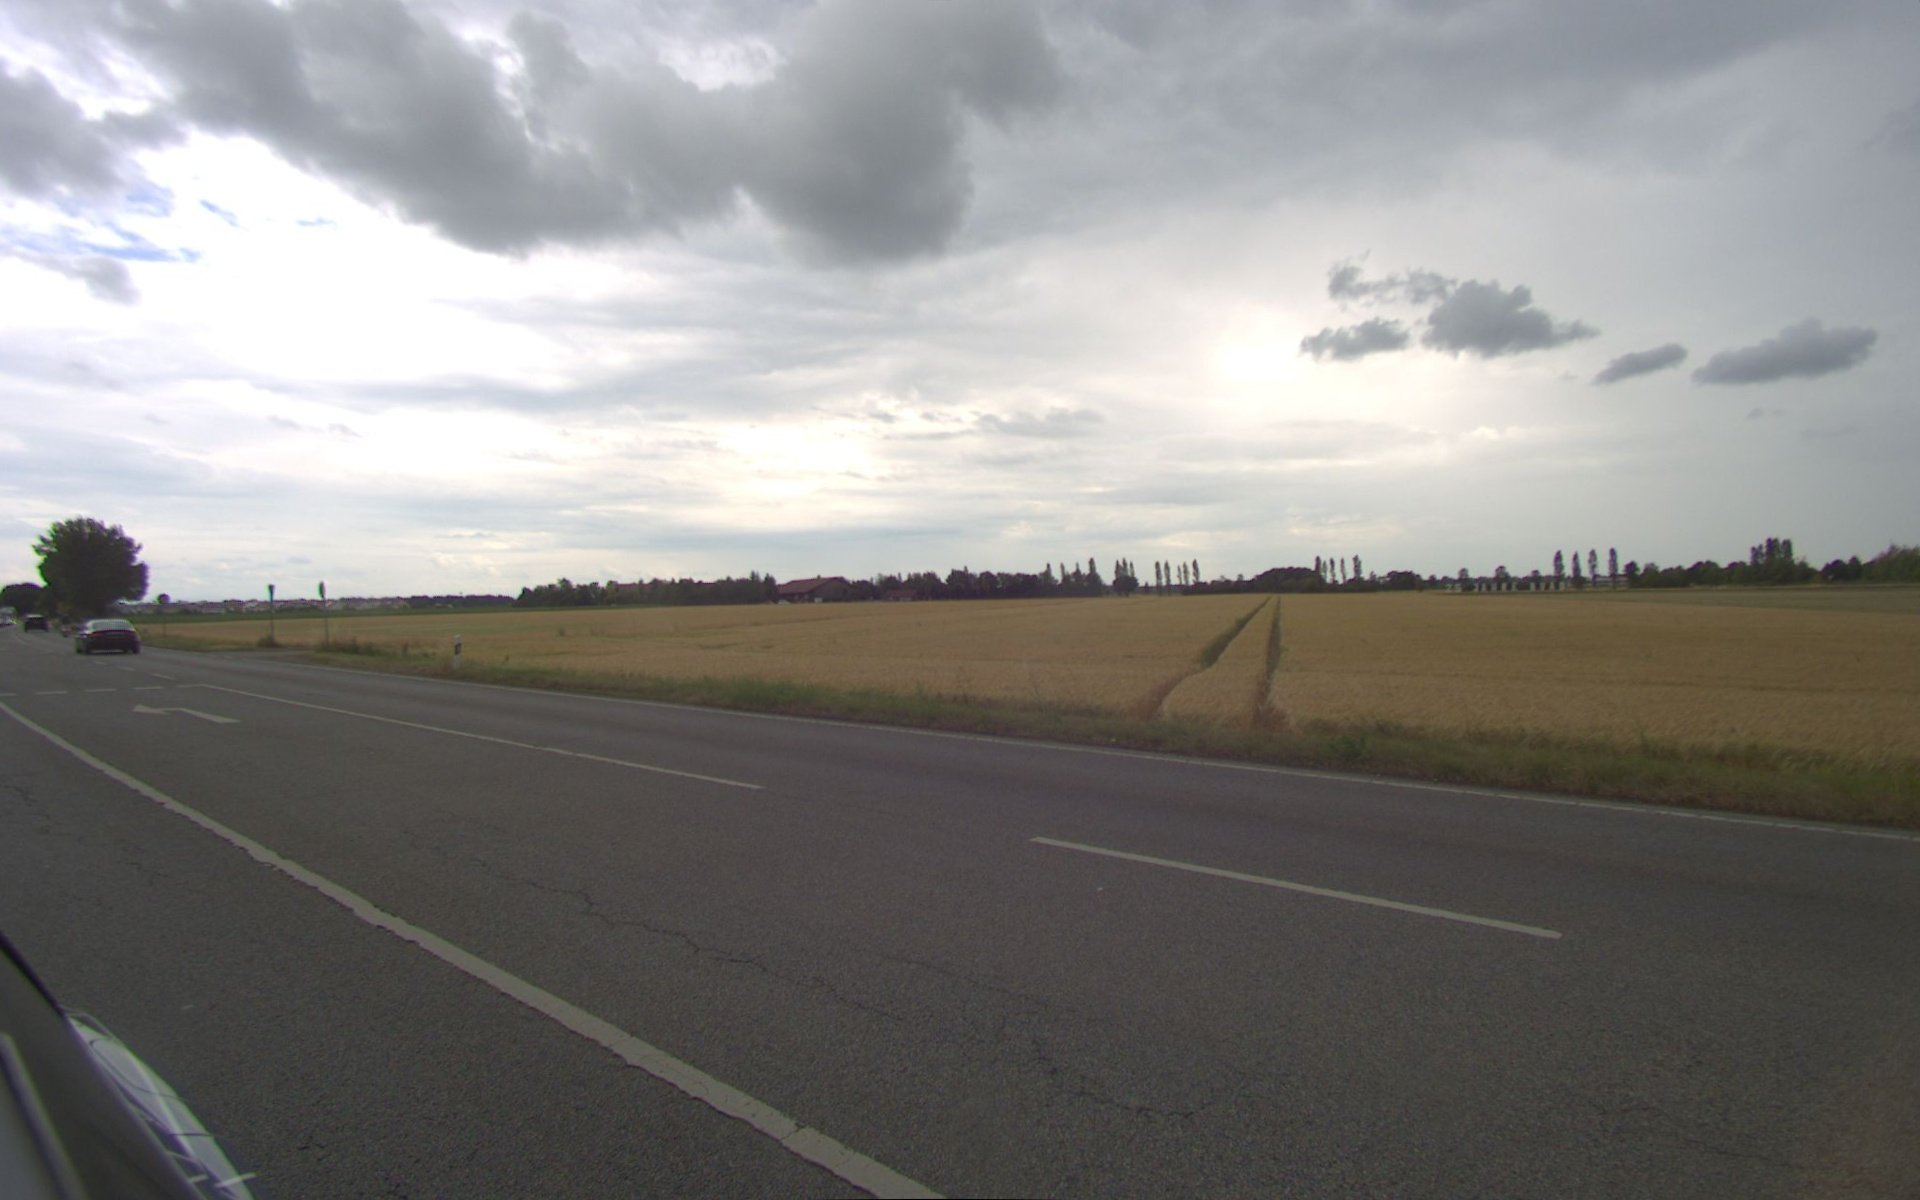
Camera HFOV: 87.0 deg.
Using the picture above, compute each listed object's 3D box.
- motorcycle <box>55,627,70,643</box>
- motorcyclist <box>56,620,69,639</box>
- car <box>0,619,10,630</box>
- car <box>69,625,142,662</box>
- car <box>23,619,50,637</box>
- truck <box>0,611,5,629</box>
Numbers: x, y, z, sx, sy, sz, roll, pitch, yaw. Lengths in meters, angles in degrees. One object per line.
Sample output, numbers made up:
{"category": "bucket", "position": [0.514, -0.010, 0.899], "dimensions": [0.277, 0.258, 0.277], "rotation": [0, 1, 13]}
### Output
{"category": "motorcycle", "position": [-65.930, 2.567, 74.351], "dimensions": [0.717, 1.157, 2.025], "rotation": [0, -1, -45]}
{"category": "motorcyclist", "position": [-65.896, 2.156, 74.311], "dimensions": [0.810, 1.394, 0.632], "rotation": [-1, -1, 45]}
{"category": "car", "position": [-133.189, 3.444, 140.371], "dimensions": [1.766, 1.551, 4.145], "rotation": [0, -1, -38]}
{"category": "car", "position": [-35.566, 1.765, 42.094], "dimensions": [4.424, 1.421, 1.806], "rotation": [-1, -2, 43]}
{"category": "car", "position": [-93.391, 2.812, 102.296], "dimensions": [1.924, 1.707, 4.450], "rotation": [0, -1, -44]}
{"category": "truck", "position": [-146.711, 3.030, 153.782], "dimensions": [2.286, 2.786, 7.681], "rotation": [-1, 0, -43]}
